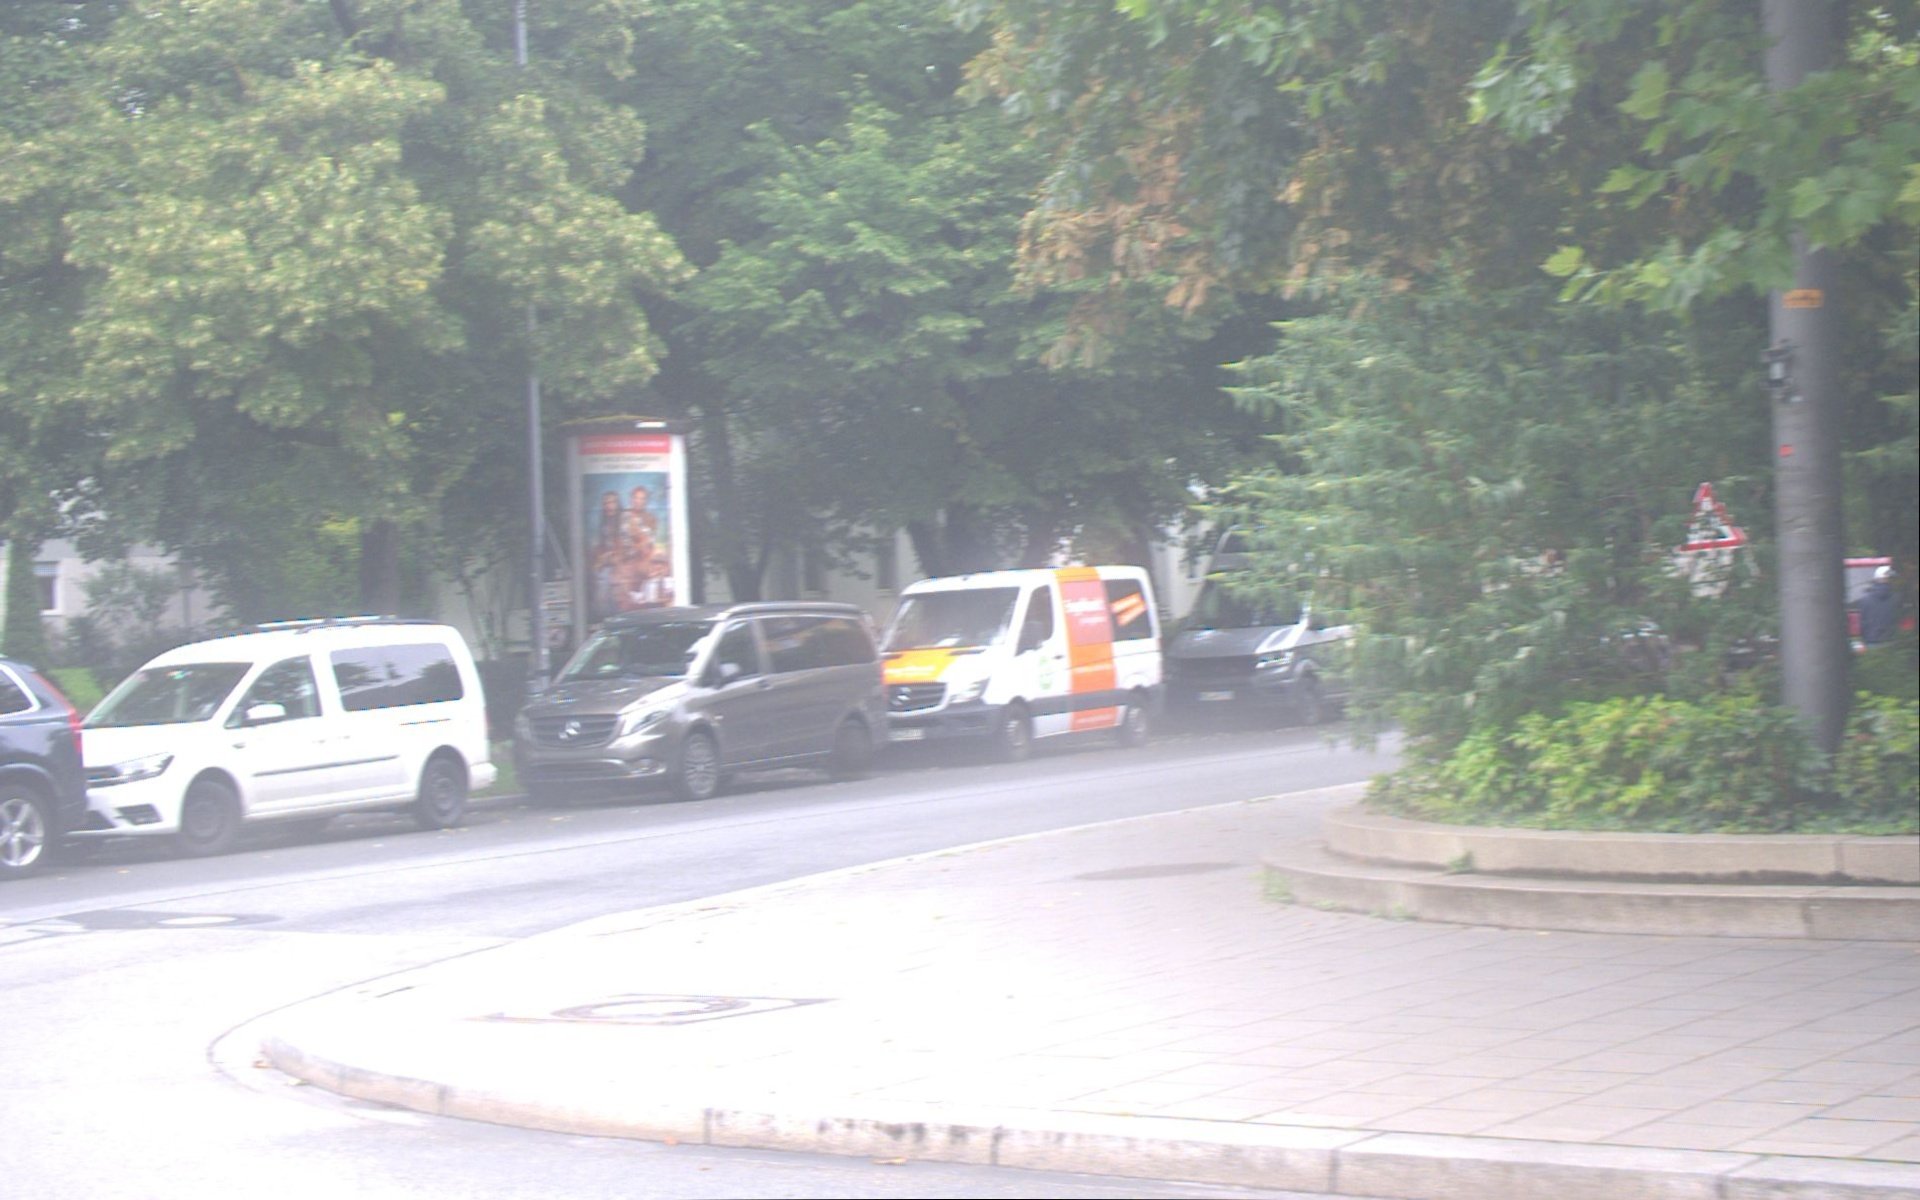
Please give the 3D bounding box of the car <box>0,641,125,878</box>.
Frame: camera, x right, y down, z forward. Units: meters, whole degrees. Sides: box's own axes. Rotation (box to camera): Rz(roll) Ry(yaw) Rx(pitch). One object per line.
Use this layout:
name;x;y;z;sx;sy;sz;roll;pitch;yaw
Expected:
car;-8.686;1.248;24.657;2.087;1.713;5.296;-3;0;31

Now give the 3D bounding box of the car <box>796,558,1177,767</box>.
car;0.429;0.698;41.721;2.087;2.257;5.594;-4;-1;29

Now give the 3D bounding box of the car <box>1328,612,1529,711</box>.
car;7.485;0.959;54.655;1.996;1.415;3.995;-2;0;25

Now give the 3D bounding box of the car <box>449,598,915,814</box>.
car;-2.727;1.028;35.426;2.029;1.902;5.659;-4;-1;27

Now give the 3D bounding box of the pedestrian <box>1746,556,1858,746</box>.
pedestrian;8.363;0.498;34.177;0.820;1.830;0.952;-2;-1;1

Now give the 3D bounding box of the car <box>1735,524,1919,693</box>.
car;11.236;0.085;42.833;1.914;1.930;4.962;-2;0;26

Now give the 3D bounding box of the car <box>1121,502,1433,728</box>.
car;4.678;0.180;49.590;2.176;2.992;6.224;-3;0;28

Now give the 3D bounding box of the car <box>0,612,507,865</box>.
car;-6.223;1.126;29.452;2.087;1.897;4.850;-3;0;29

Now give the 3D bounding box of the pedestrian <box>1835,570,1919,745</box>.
pedestrian;8.922;0.555;33.432;0.633;1.661;0.697;-2;-1;6
